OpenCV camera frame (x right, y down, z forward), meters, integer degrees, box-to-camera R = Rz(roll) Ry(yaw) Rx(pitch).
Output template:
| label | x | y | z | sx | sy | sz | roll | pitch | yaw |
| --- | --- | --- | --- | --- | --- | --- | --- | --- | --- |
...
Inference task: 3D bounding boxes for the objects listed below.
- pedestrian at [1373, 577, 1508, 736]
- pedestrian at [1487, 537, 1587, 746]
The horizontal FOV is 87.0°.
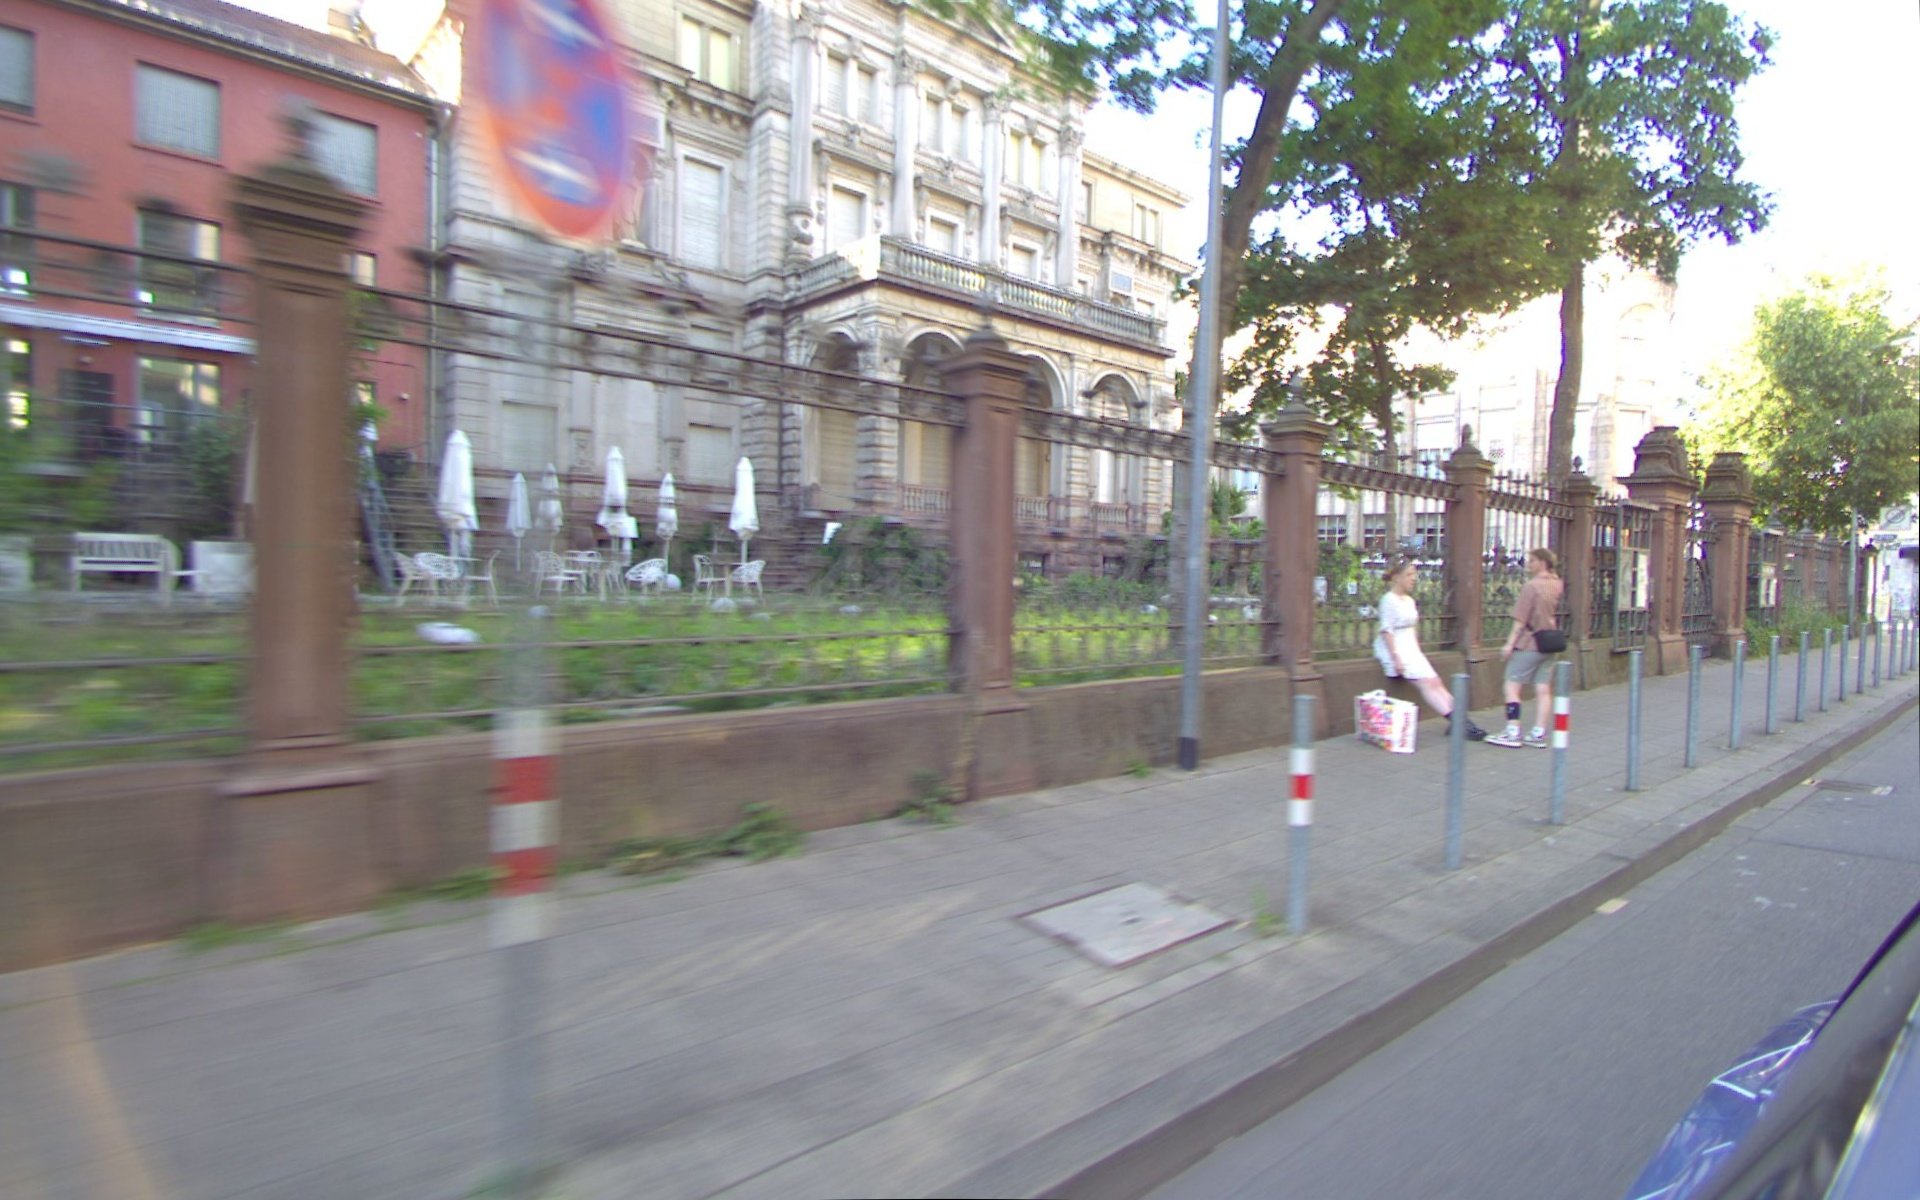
| label | x | y | z | sx | sy | sz | roll | pitch | yaw |
| --- | --- | --- | --- | --- | --- | --- | --- | --- | --- |
| pedestrian | 4.139 | 0.456 | 8.746 | 0.356 | 1.264 | 0.927 | 0 | 4 | -43 |
| pedestrian | 4.779 | 0.323 | 8.392 | 0.546 | 1.666 | 0.438 | 0 | 3 | -34 |
